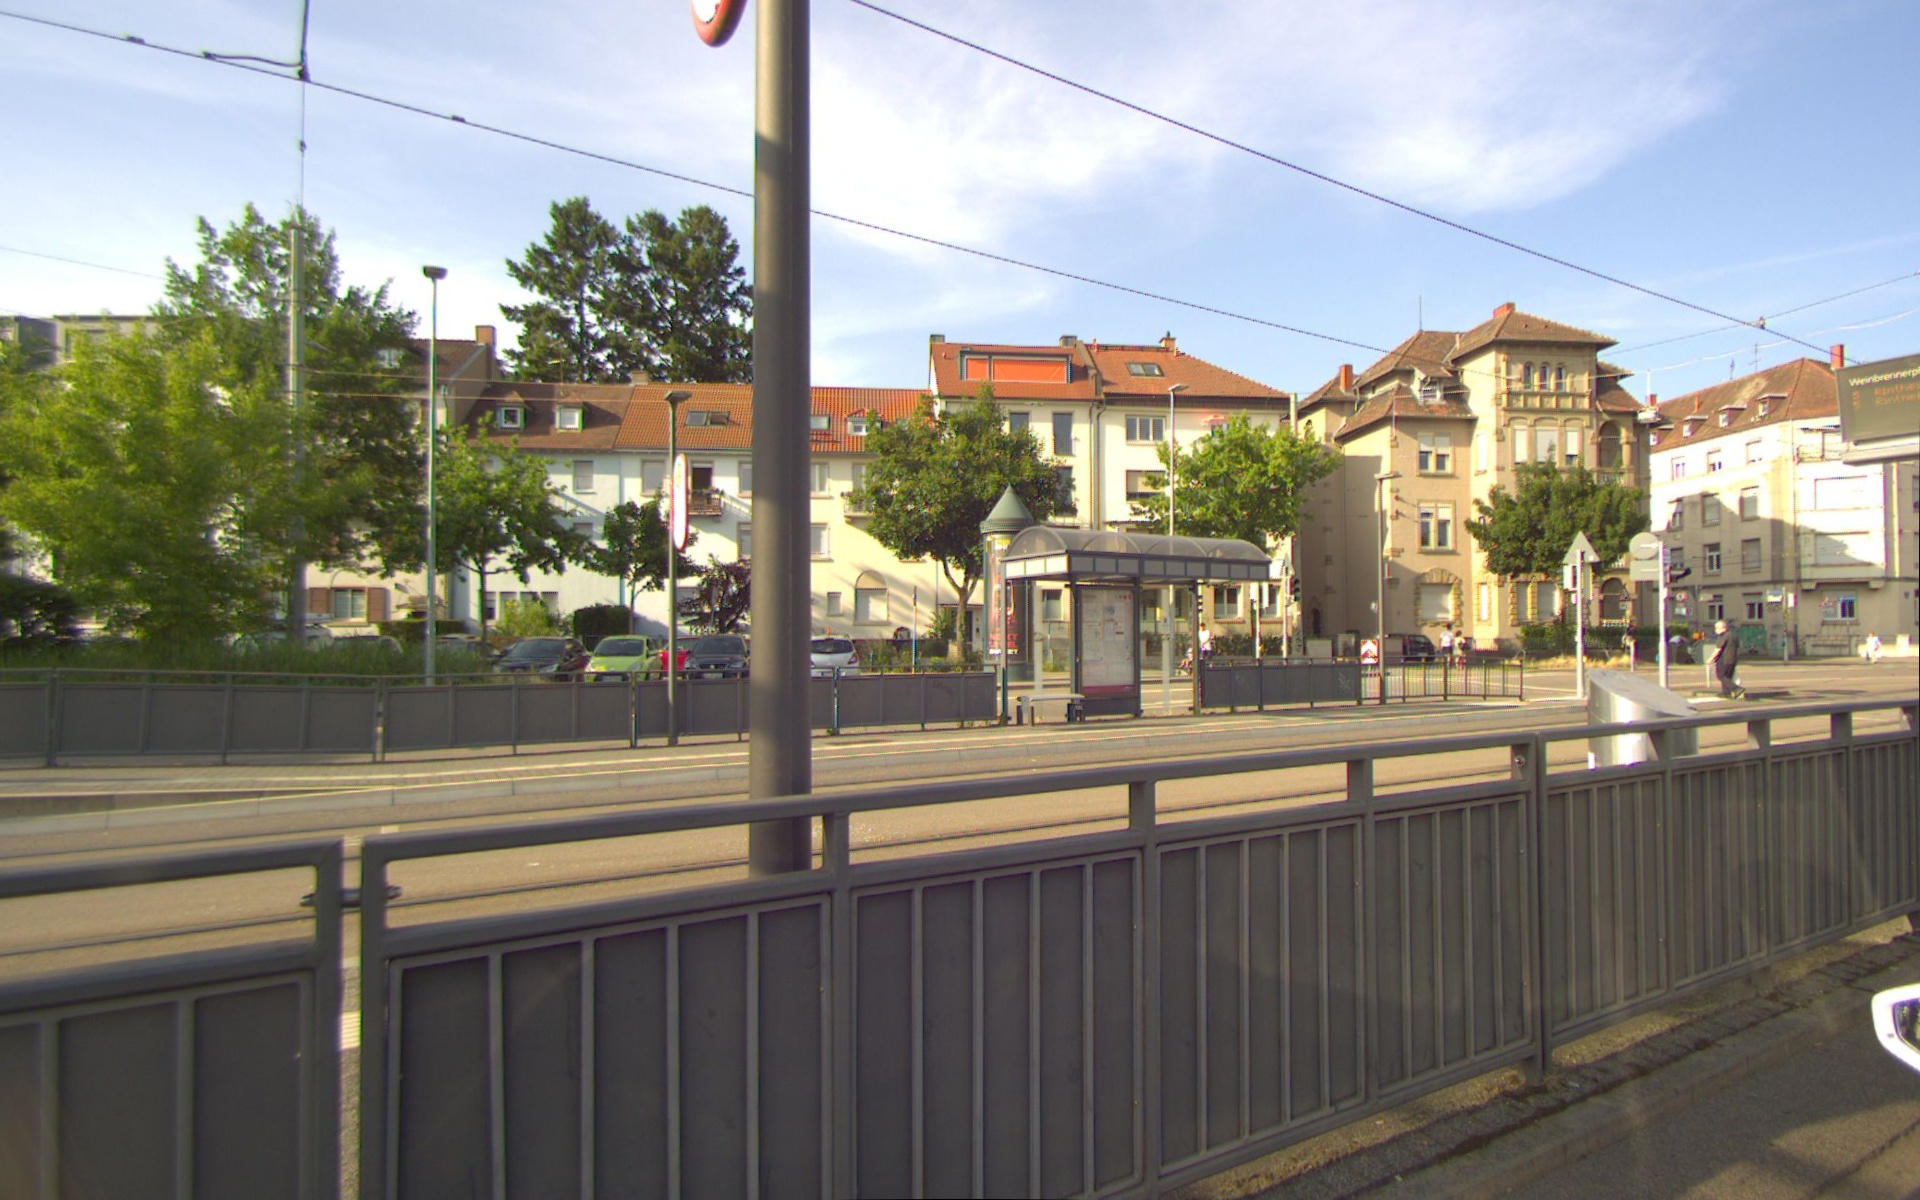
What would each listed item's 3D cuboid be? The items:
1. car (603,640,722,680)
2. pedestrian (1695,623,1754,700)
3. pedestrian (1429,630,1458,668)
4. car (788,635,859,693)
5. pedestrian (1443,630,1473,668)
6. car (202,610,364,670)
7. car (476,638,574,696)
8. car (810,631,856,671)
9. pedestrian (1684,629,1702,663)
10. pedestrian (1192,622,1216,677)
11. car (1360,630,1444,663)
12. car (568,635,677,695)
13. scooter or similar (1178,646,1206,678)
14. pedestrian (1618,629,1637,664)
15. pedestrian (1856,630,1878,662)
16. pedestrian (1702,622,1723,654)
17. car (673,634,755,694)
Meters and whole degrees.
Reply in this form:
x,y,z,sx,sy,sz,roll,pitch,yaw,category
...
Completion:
x,y,z,sx,sy,sz,roll,pitch,yaw,category
-10.743,2.158,36.549,3.927,1.416,1.836,0,-2,-9,car
16.987,1.353,22.336,0.778,1.667,0.757,-1,-2,16,pedestrian
20.665,2.086,42.934,0.768,1.572,0.831,0,-2,-8,pedestrian
-3.851,1.744,28.140,1.815,1.505,3.995,0,-2,-9,car
20.865,2.049,42.070,0.768,1.572,0.831,0,-2,-8,pedestrian
-18.151,1.082,27.177,1.813,1.505,3.999,0,-2,-3,car
-11.382,1.706,26.555,1.968,1.416,3.985,0,-2,-18,car
-5.589,2.231,44.518,1.962,1.684,3.997,0,-2,-6,car
33.004,2.089,45.233,0.382,1.520,0.535,0,-2,-15,pedestrian
8.094,1.635,33.261,0.540,1.769,0.761,-1,-2,34,pedestrian
20.834,2.171,47.487,1.732,1.327,4.111,2,0,-7,car
-9.171,1.737,27.625,1.813,1.505,3.999,0,-2,-3,car
7.511,1.988,32.553,0.549,1.001,1.020,-1,-2,34,scooter or similar
29.390,2.047,44.209,0.540,1.520,0.437,0,-2,-15,pedestrian
45.077,2.289,49.917,0.702,1.561,0.626,1,-2,-30,pedestrian
49.174,2.491,65.621,0.773,2.040,0.775,0,-2,-15,pedestrian
-6.667,1.707,27.596,1.815,1.505,3.995,0,-2,-9,car
